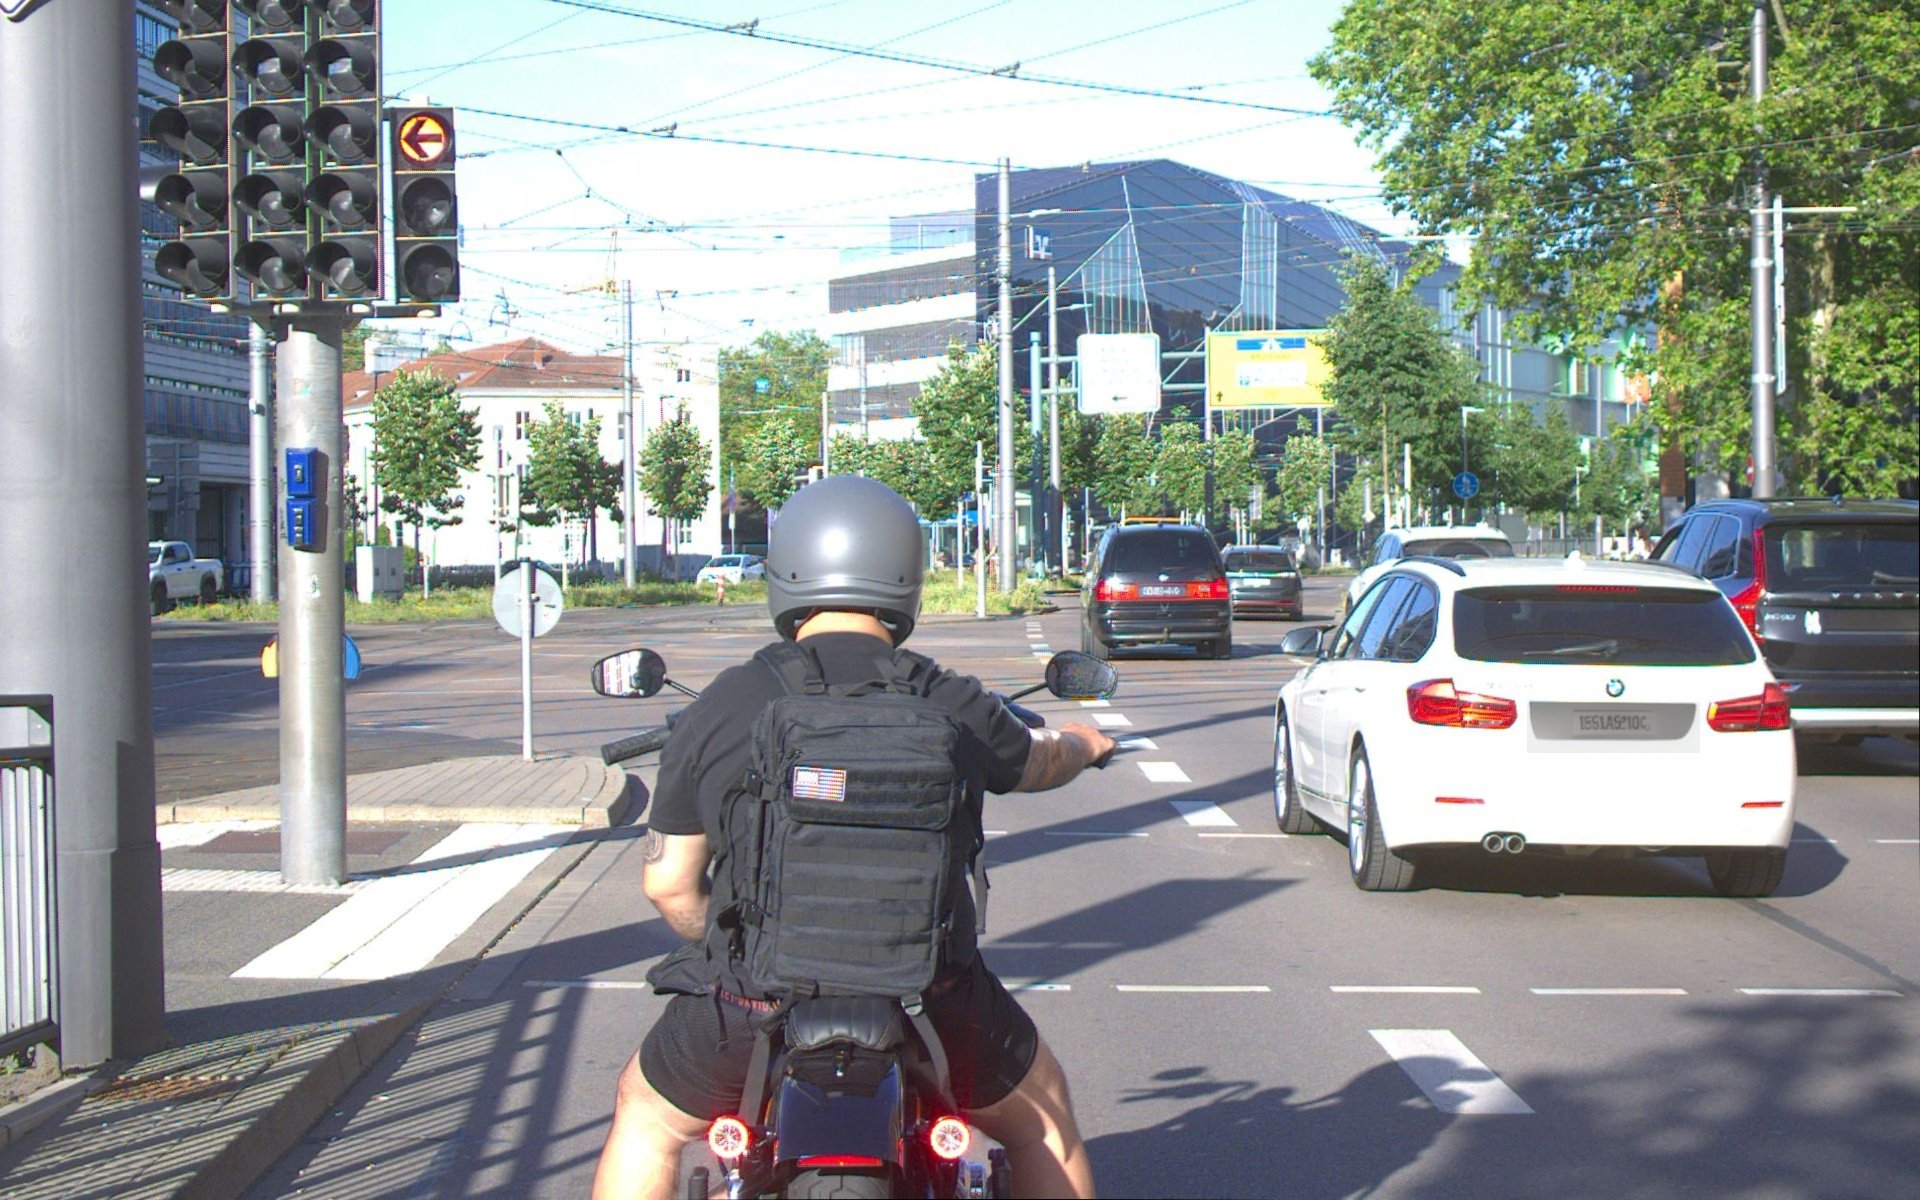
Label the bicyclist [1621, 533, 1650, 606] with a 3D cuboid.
[{"bbox_3d":[12.794,-0.573,65.105,0.344,1.368,0.382,1,0,-36],"label":"bicyclist"}]

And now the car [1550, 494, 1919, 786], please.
[{"bbox_3d":[5.368,0.181,22.826,1.731,1.726,4.613,1,2,-5],"label":"car"}]

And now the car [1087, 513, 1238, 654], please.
[{"bbox_3d":[2.527,-0.208,43.646,1.803,1.672,4.041,1,0,2],"label":"car"}]

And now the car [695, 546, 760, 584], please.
[{"bbox_3d":[-9.149,-1.400,135.630,1.825,1.425,4.529,0,1,6],"label":"car"}]

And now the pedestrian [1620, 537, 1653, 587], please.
[{"bbox_3d":[17.912,-1.004,90.994,0.819,1.309,0.637,1,0,9],"label":"pedestrian"}]

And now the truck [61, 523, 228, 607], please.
[{"bbox_3d":[-19.660,-0.840,83.124,1.994,1.873,5.154,-3,0,10],"label":"truck"}]

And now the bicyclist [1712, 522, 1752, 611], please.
[{"bbox_3d":[14.692,-0.632,65.426,0.688,1.667,0.540,0,0,19],"label":"bicyclist"}]

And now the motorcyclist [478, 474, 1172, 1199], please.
[{"bbox_3d":[-0.204,0.600,5.580,1.030,1.588,0.873,0,1,-1],"label":"motorcyclist"}]

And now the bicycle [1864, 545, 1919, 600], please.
[{"bbox_3d":[18.335,-0.526,65.951,1.880,1.043,0.360,1,0,-1],"label":"bicycle"}]

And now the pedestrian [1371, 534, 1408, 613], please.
[{"bbox_3d":[8.579,-0.531,68.673,0.587,1.551,0.489,1,0,-8],"label":"pedestrian"}]

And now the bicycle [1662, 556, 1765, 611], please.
[{"bbox_3d":[14.361,-0.318,65.537,1.872,1.040,0.536,0,0,19],"label":"bicycle"}]

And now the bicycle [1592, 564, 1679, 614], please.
[{"bbox_3d":[12.782,-0.214,65.103,0.356,0.922,1.831,1,0,-36],"label":"bicycle"}]

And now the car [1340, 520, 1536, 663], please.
[{"bbox_3d":[5.669,-0.142,41.181,1.731,1.593,4.041,1,1,0],"label":"car"}]

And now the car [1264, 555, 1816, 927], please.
[{"bbox_3d":[2.500,0.550,15.869,1.731,1.452,4.418,1,0,-1],"label":"car"}]

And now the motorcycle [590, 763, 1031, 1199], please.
[{"bbox_3d":[-0.223,0.874,5.841,0.600,1.032,2.234,1,1,-1],"label":"motorcycle"}]

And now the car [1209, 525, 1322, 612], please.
[{"bbox_3d":[6.144,-0.624,69.499,1.803,1.672,4.041,1,0,-1],"label":"car"}]
